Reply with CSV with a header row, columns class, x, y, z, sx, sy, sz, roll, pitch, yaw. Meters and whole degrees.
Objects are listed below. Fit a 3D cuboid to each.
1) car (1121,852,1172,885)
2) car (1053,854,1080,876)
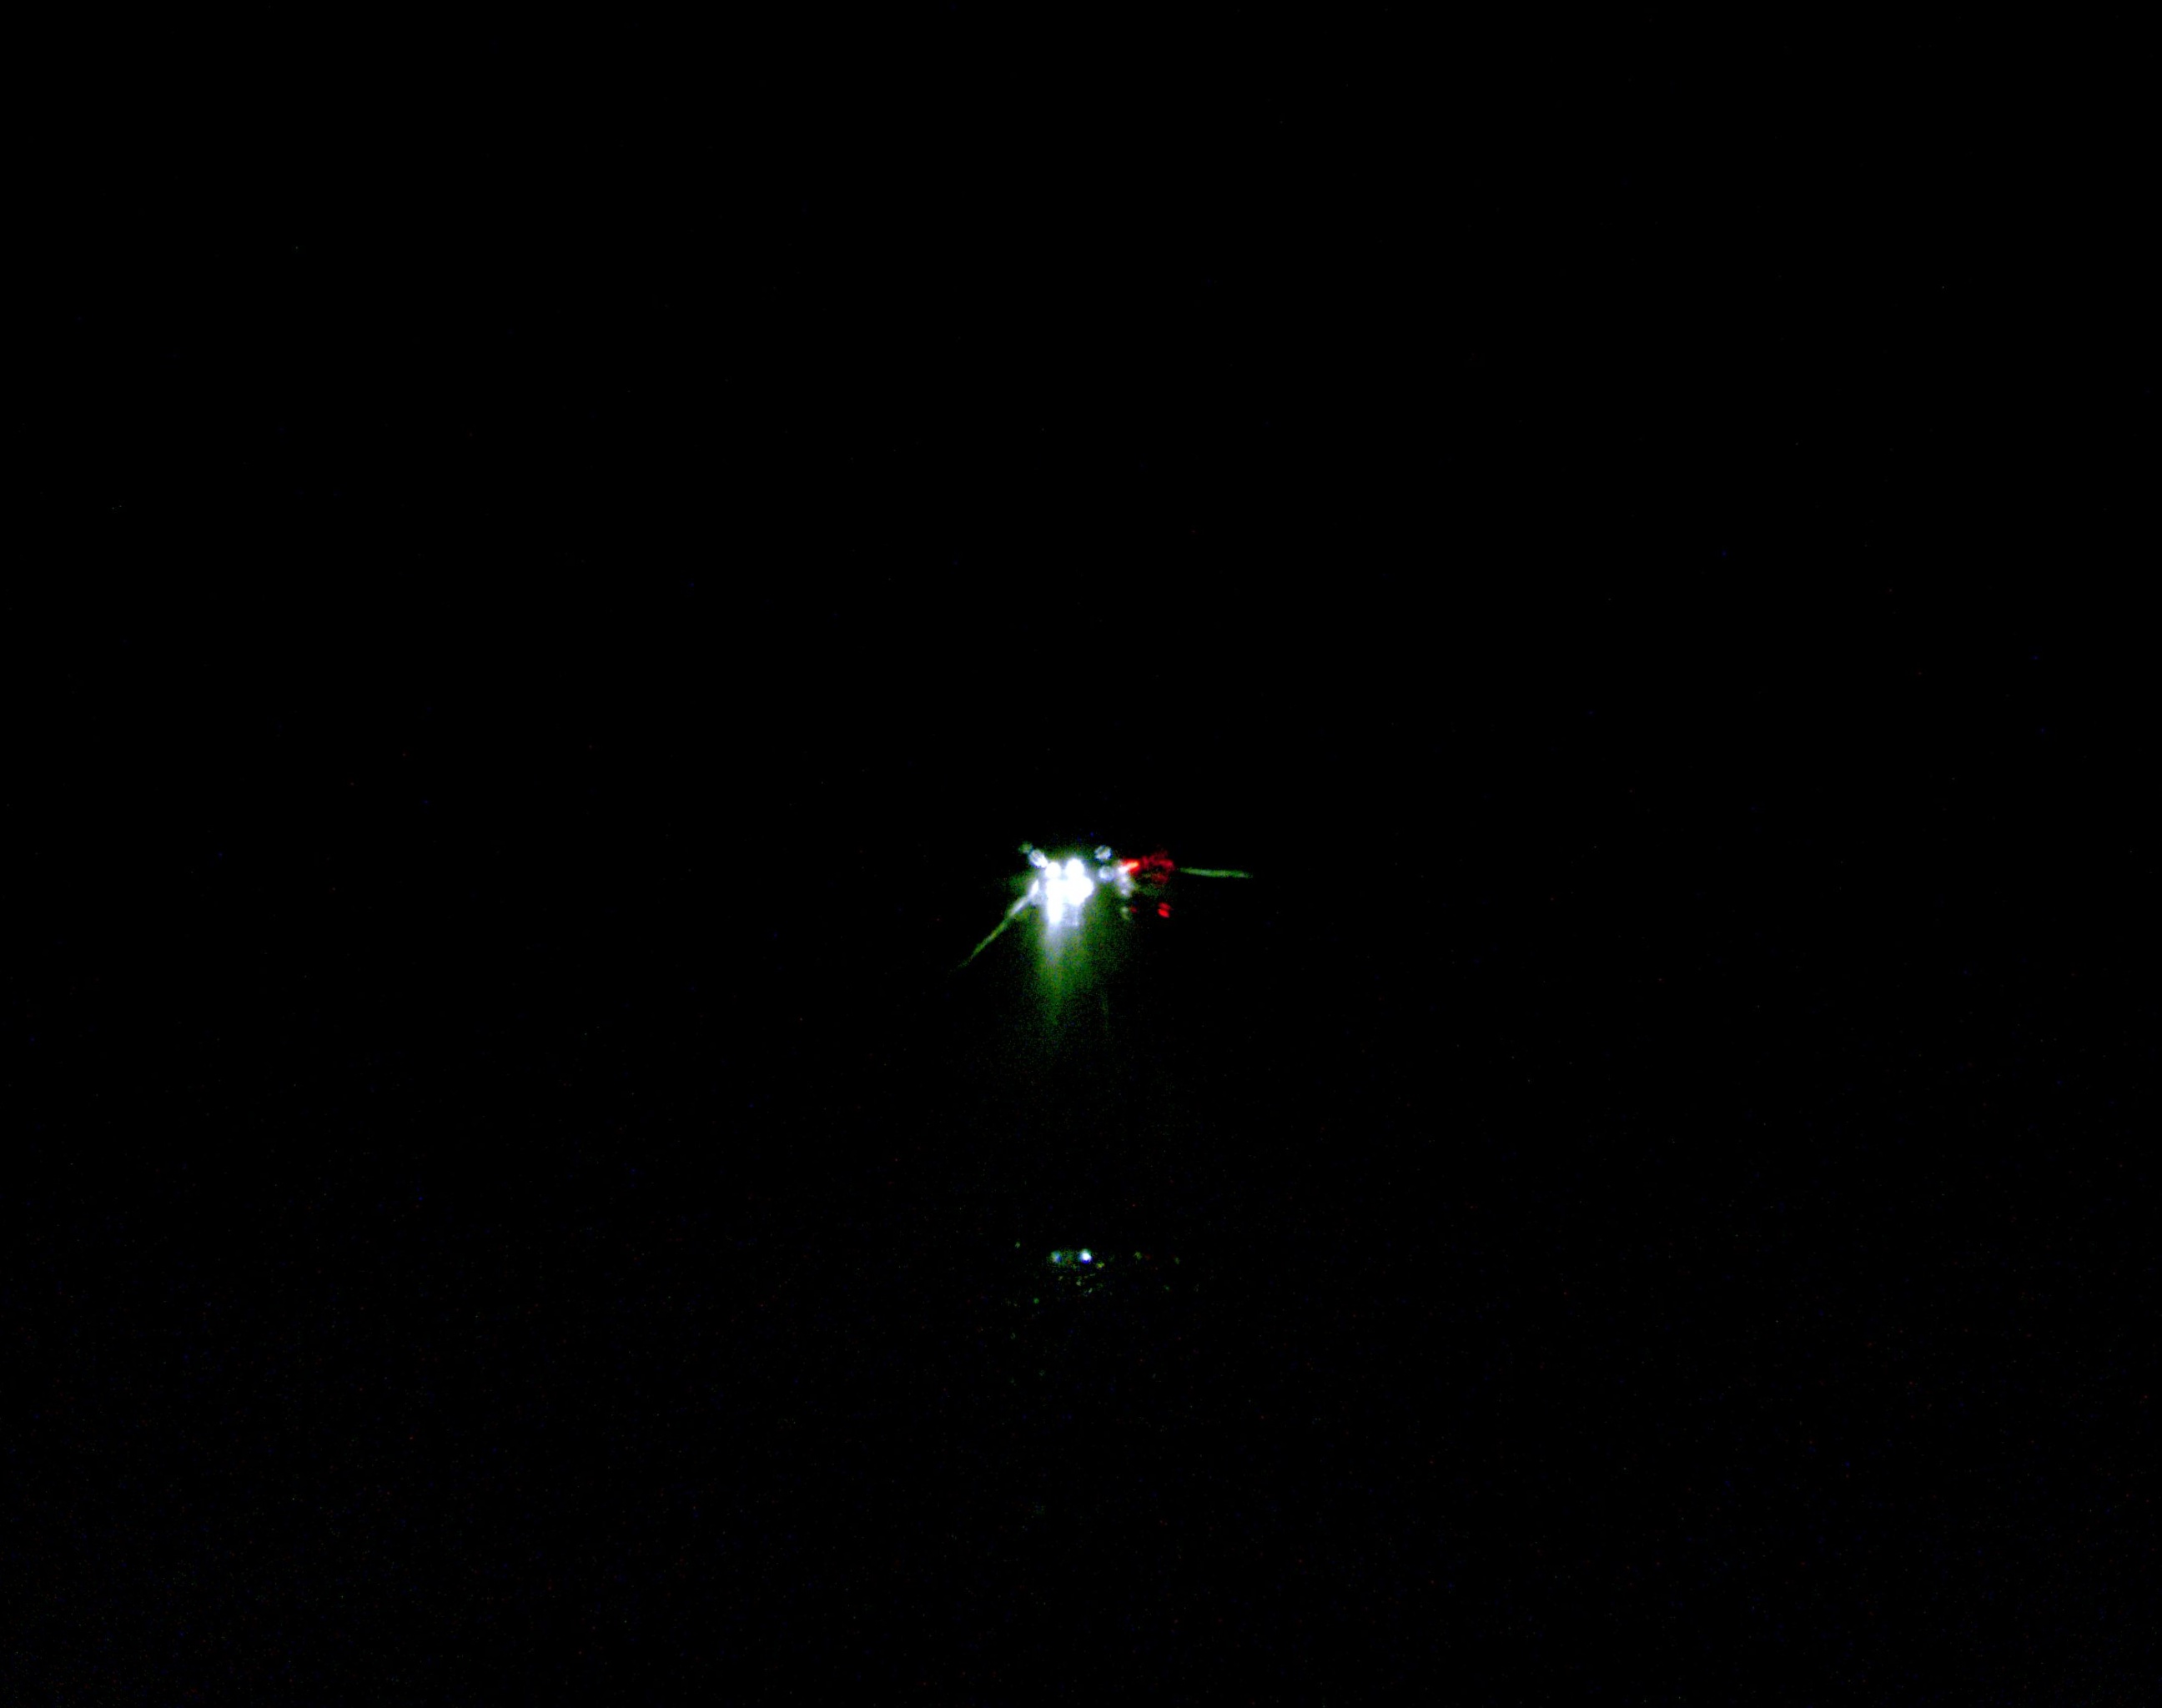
class,x,y,z,sx,sy,sz,roll,pitch,yaw
car,3.022,0.630,35.691,1.998,1.382,3.845,-3,0,0
car,-1.133,0.771,56.844,1.776,1.444,4.134,-3,1,-4
